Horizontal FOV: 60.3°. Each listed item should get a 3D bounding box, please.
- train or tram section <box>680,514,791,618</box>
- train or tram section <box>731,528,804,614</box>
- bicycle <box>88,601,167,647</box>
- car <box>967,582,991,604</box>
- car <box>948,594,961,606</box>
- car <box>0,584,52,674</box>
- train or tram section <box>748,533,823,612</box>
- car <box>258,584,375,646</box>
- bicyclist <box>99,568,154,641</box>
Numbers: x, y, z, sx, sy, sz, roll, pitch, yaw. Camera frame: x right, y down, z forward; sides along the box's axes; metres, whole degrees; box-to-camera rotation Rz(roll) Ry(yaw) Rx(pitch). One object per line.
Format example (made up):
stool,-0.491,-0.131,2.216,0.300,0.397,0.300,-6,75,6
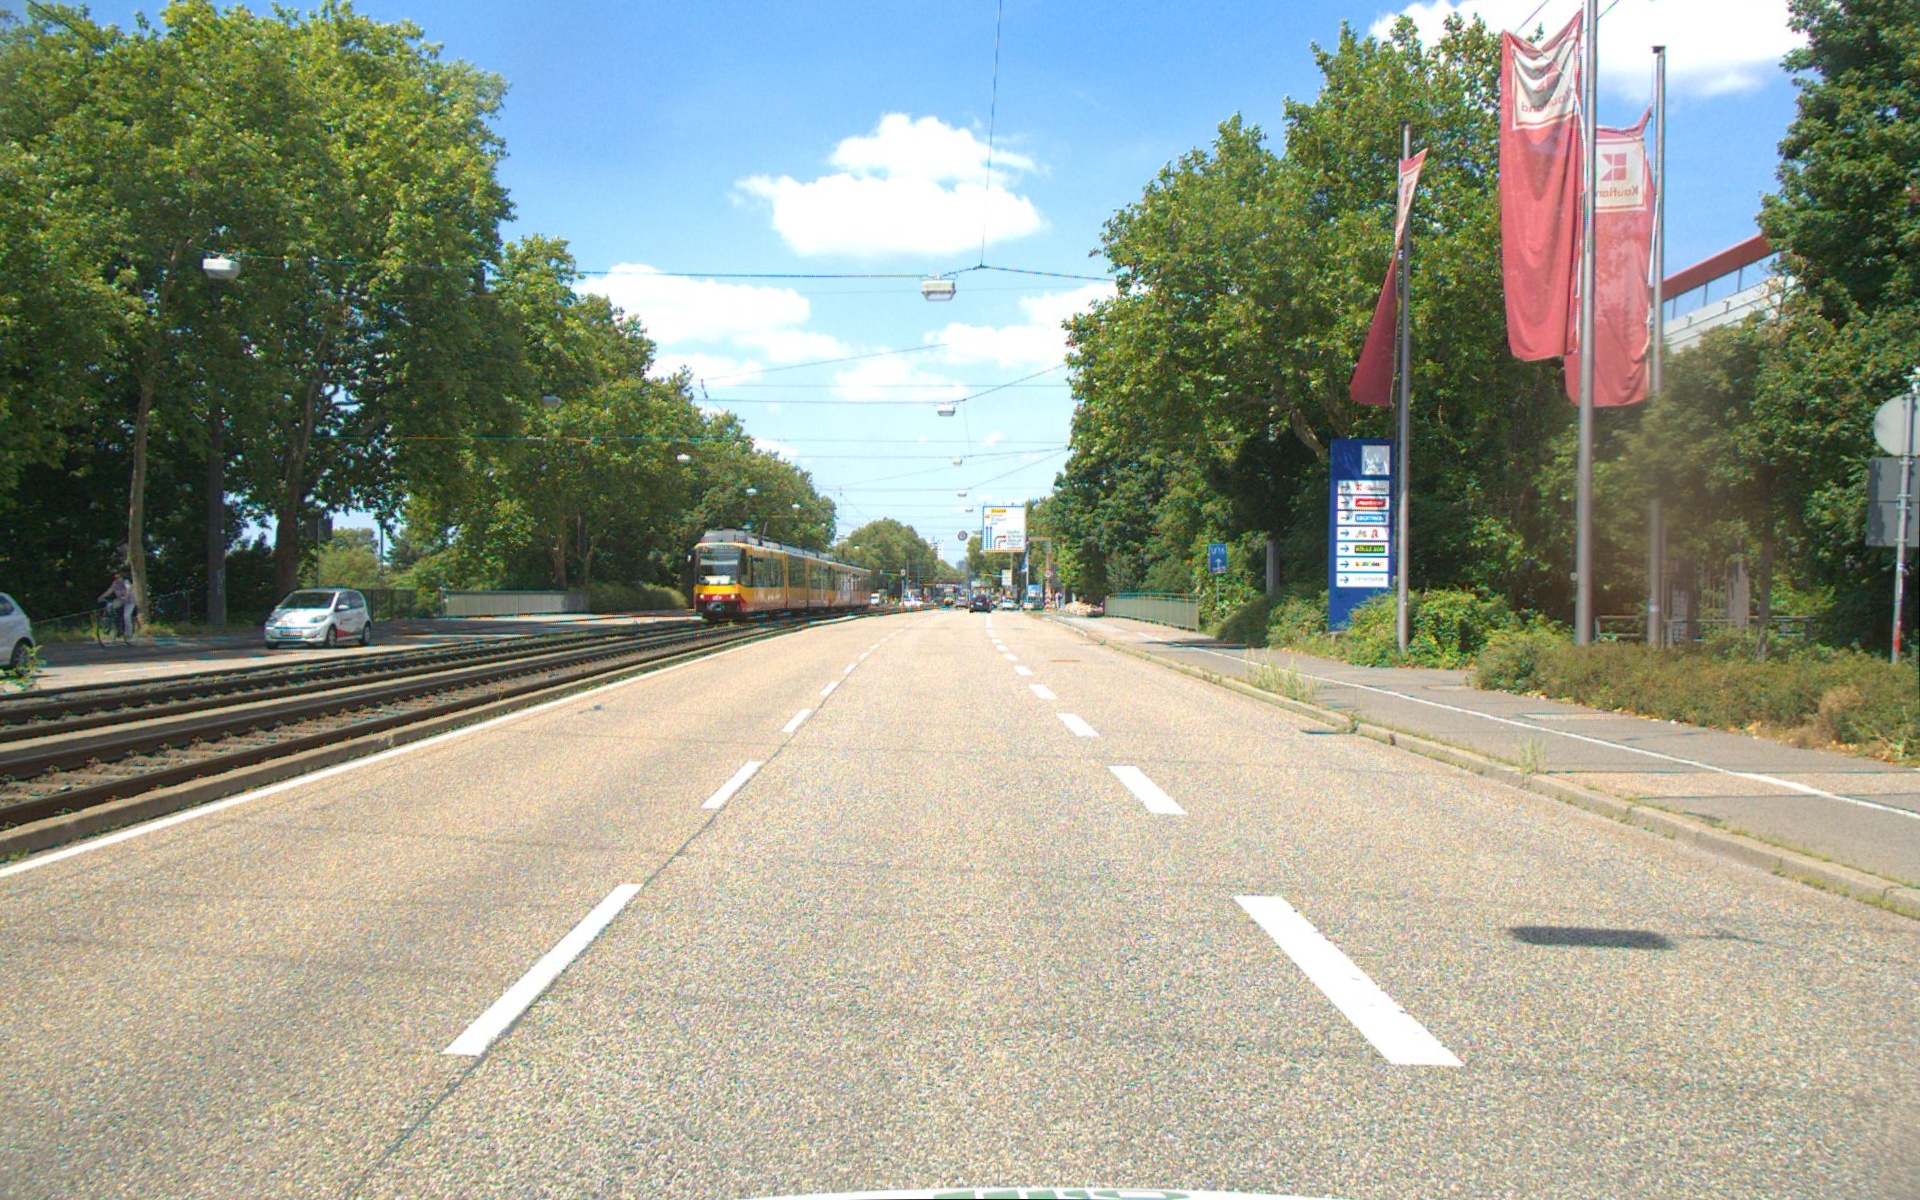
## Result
train or tram section,-10.183,-1.459,76.951,2.986,4.342,15.423,0,0,0
train or tram section,-10.174,-1.504,88.149,2.986,4.342,8.002,0,0,0
bicycle,-19.286,0.547,38.380,0.609,0.996,2.056,2,0,5
car,1.604,-0.576,143.271,1.861,1.837,3.975,2,0,-1
car,-0.758,0.009,239.861,1.805,1.577,3.776,2,0,-1
car,-16.139,0.481,25.861,1.603,1.446,4.127,-1,0,0
train or tram section,-10.201,-1.569,98.310,2.986,4.342,14.035,0,0,0
car,-16.306,0.355,42.092,1.603,1.461,3.720,-1,0,-2
bicyclist,-19.272,0.095,38.277,0.609,1.645,1.062,2,0,5
